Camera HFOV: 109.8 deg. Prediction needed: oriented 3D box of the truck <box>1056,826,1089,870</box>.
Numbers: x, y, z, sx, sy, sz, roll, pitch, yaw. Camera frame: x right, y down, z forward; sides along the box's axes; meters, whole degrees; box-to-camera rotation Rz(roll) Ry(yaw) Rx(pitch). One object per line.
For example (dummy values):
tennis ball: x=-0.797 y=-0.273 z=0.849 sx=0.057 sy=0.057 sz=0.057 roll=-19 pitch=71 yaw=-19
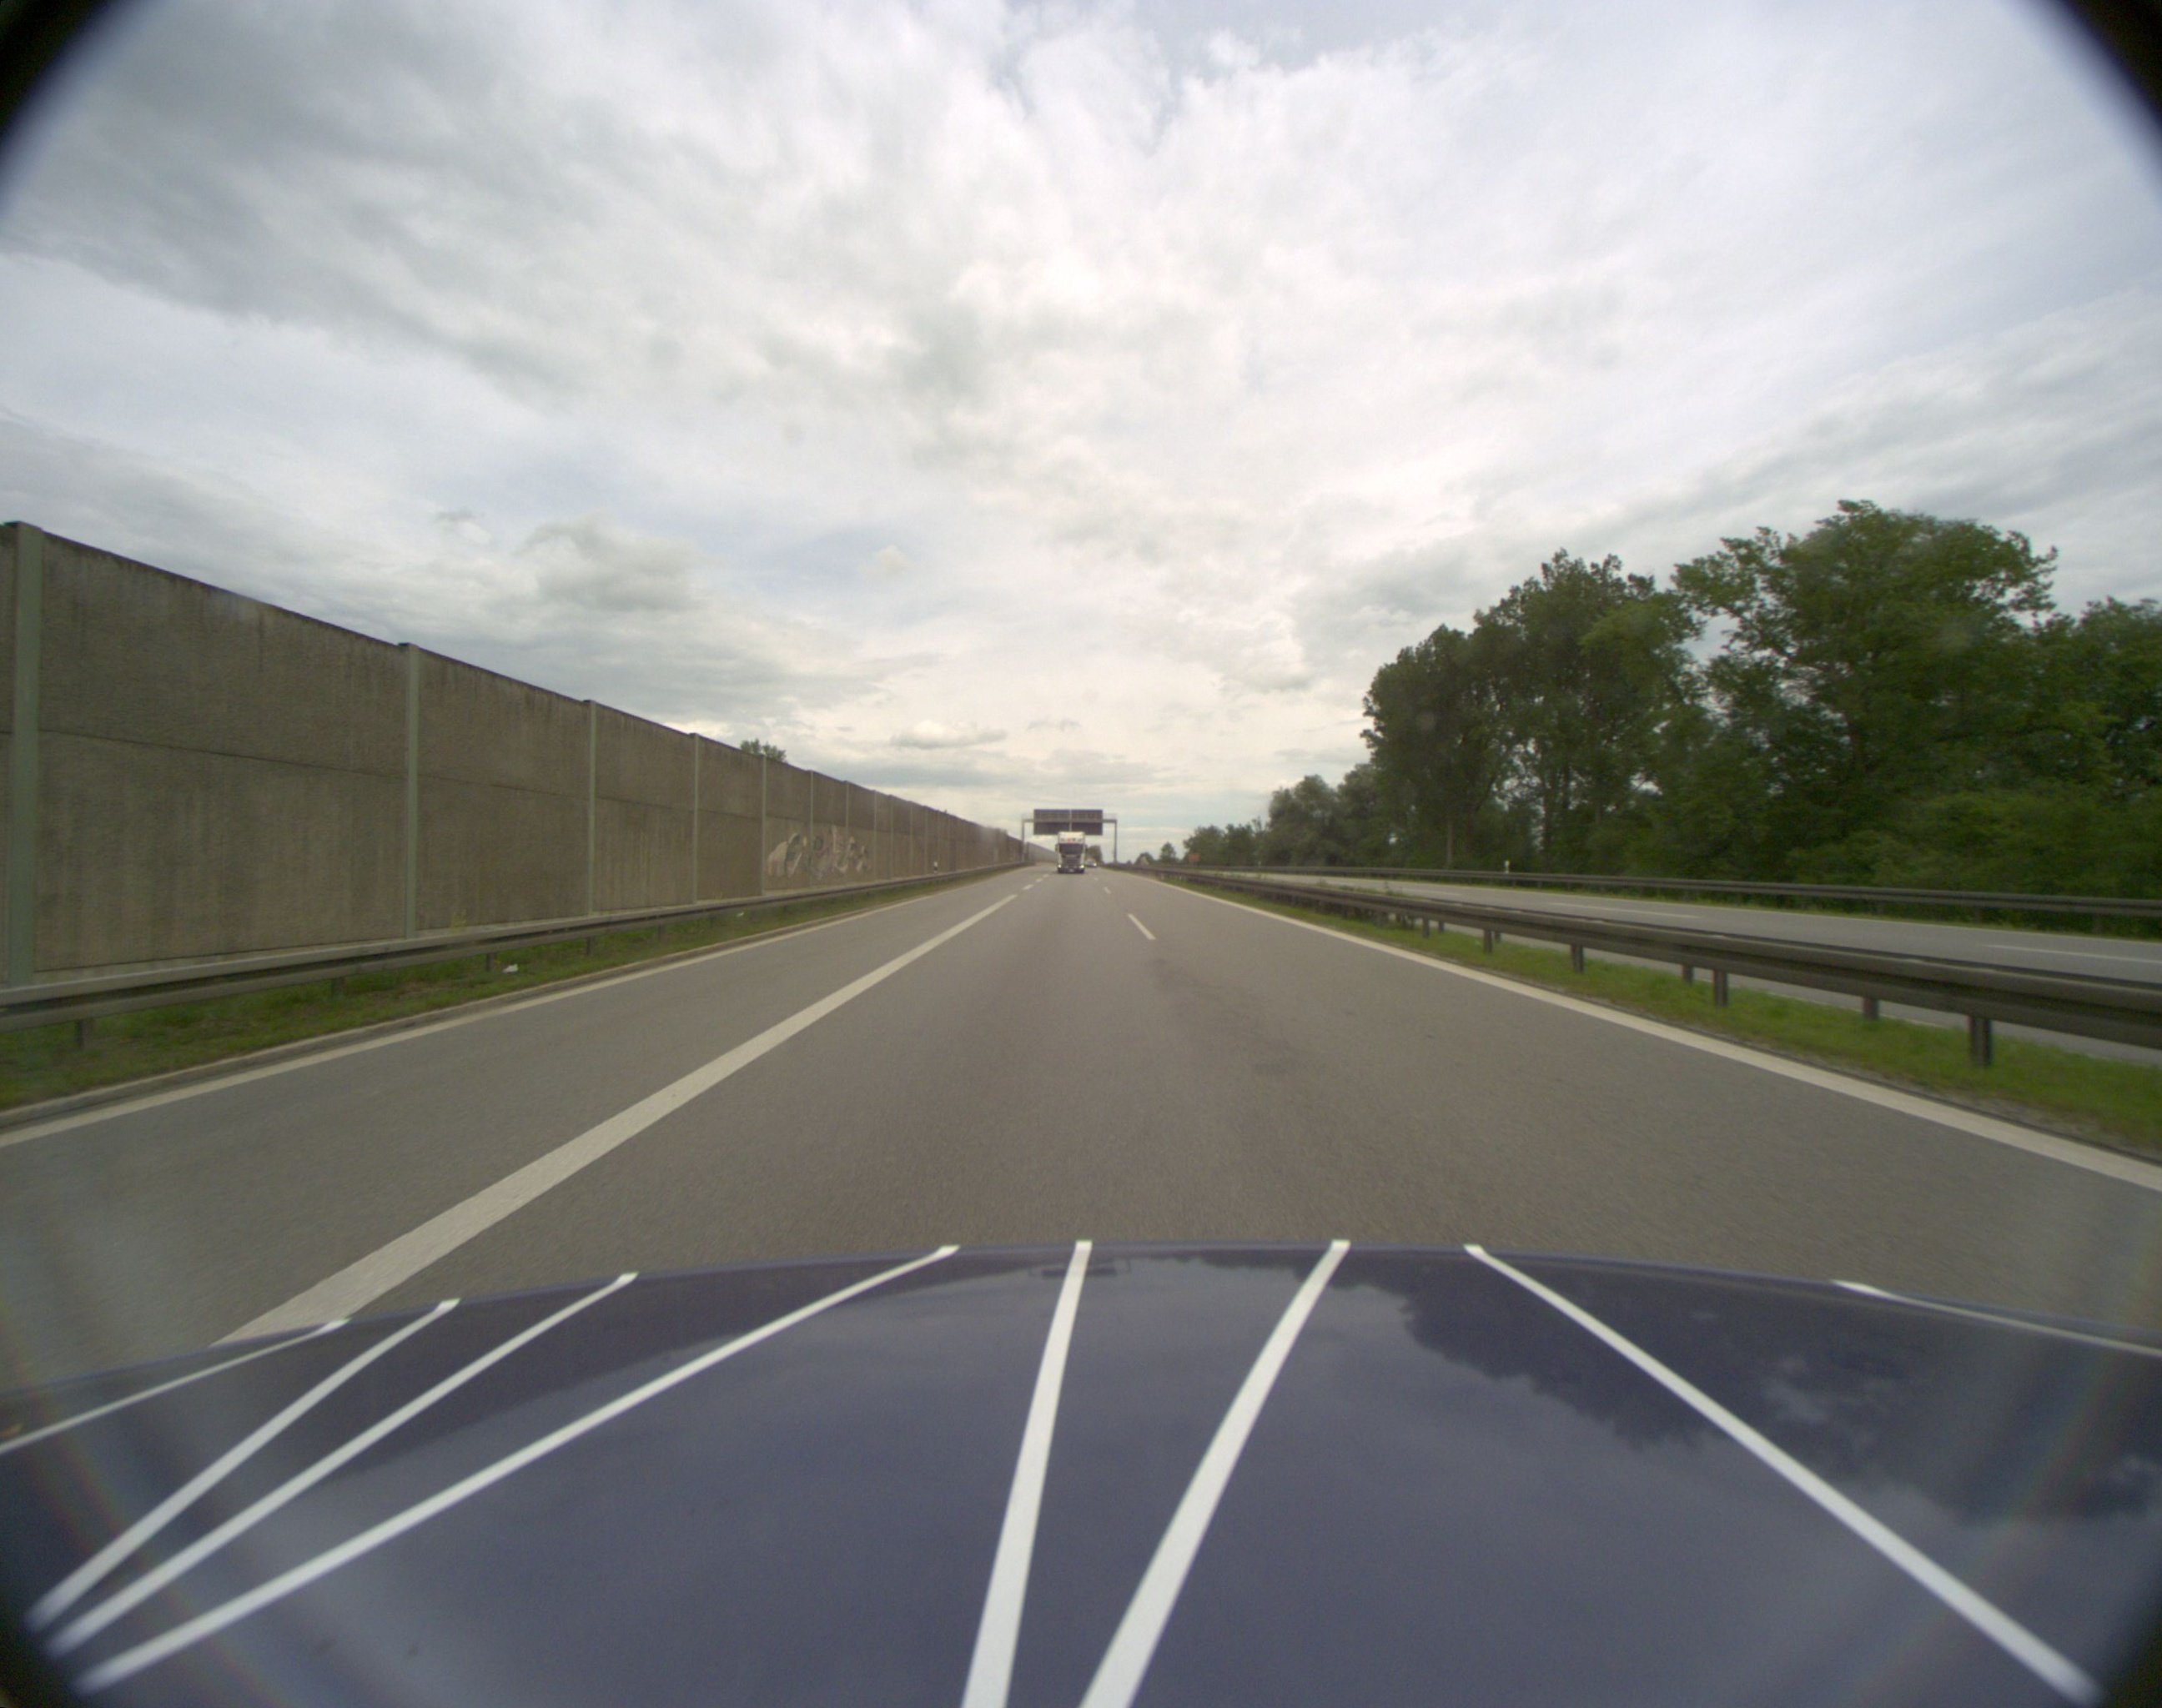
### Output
truck: x=-0.723 y=-0.462 z=71.573 sx=2.762 sy=3.935 sz=5.678 roll=2 pitch=-1 yaw=1

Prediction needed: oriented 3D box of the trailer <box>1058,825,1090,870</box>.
trailer: x=-0.585 y=-0.450 z=79.107 sx=2.799 sy=4.149 sz=14.107 roll=2 pitch=-1 yaw=1

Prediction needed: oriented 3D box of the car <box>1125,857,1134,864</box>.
car: x=14.194 y=1.928 z=222.401 sx=1.999 sy=1.991 sz=4.743 roll=1 pitch=0 yaw=-1

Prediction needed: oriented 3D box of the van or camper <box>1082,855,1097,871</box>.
van or camper: x=1.634 y=1.683 z=139.600 sx=2.435 sy=2.680 sz=7.229 roll=2 pitch=-2 yaw=2
